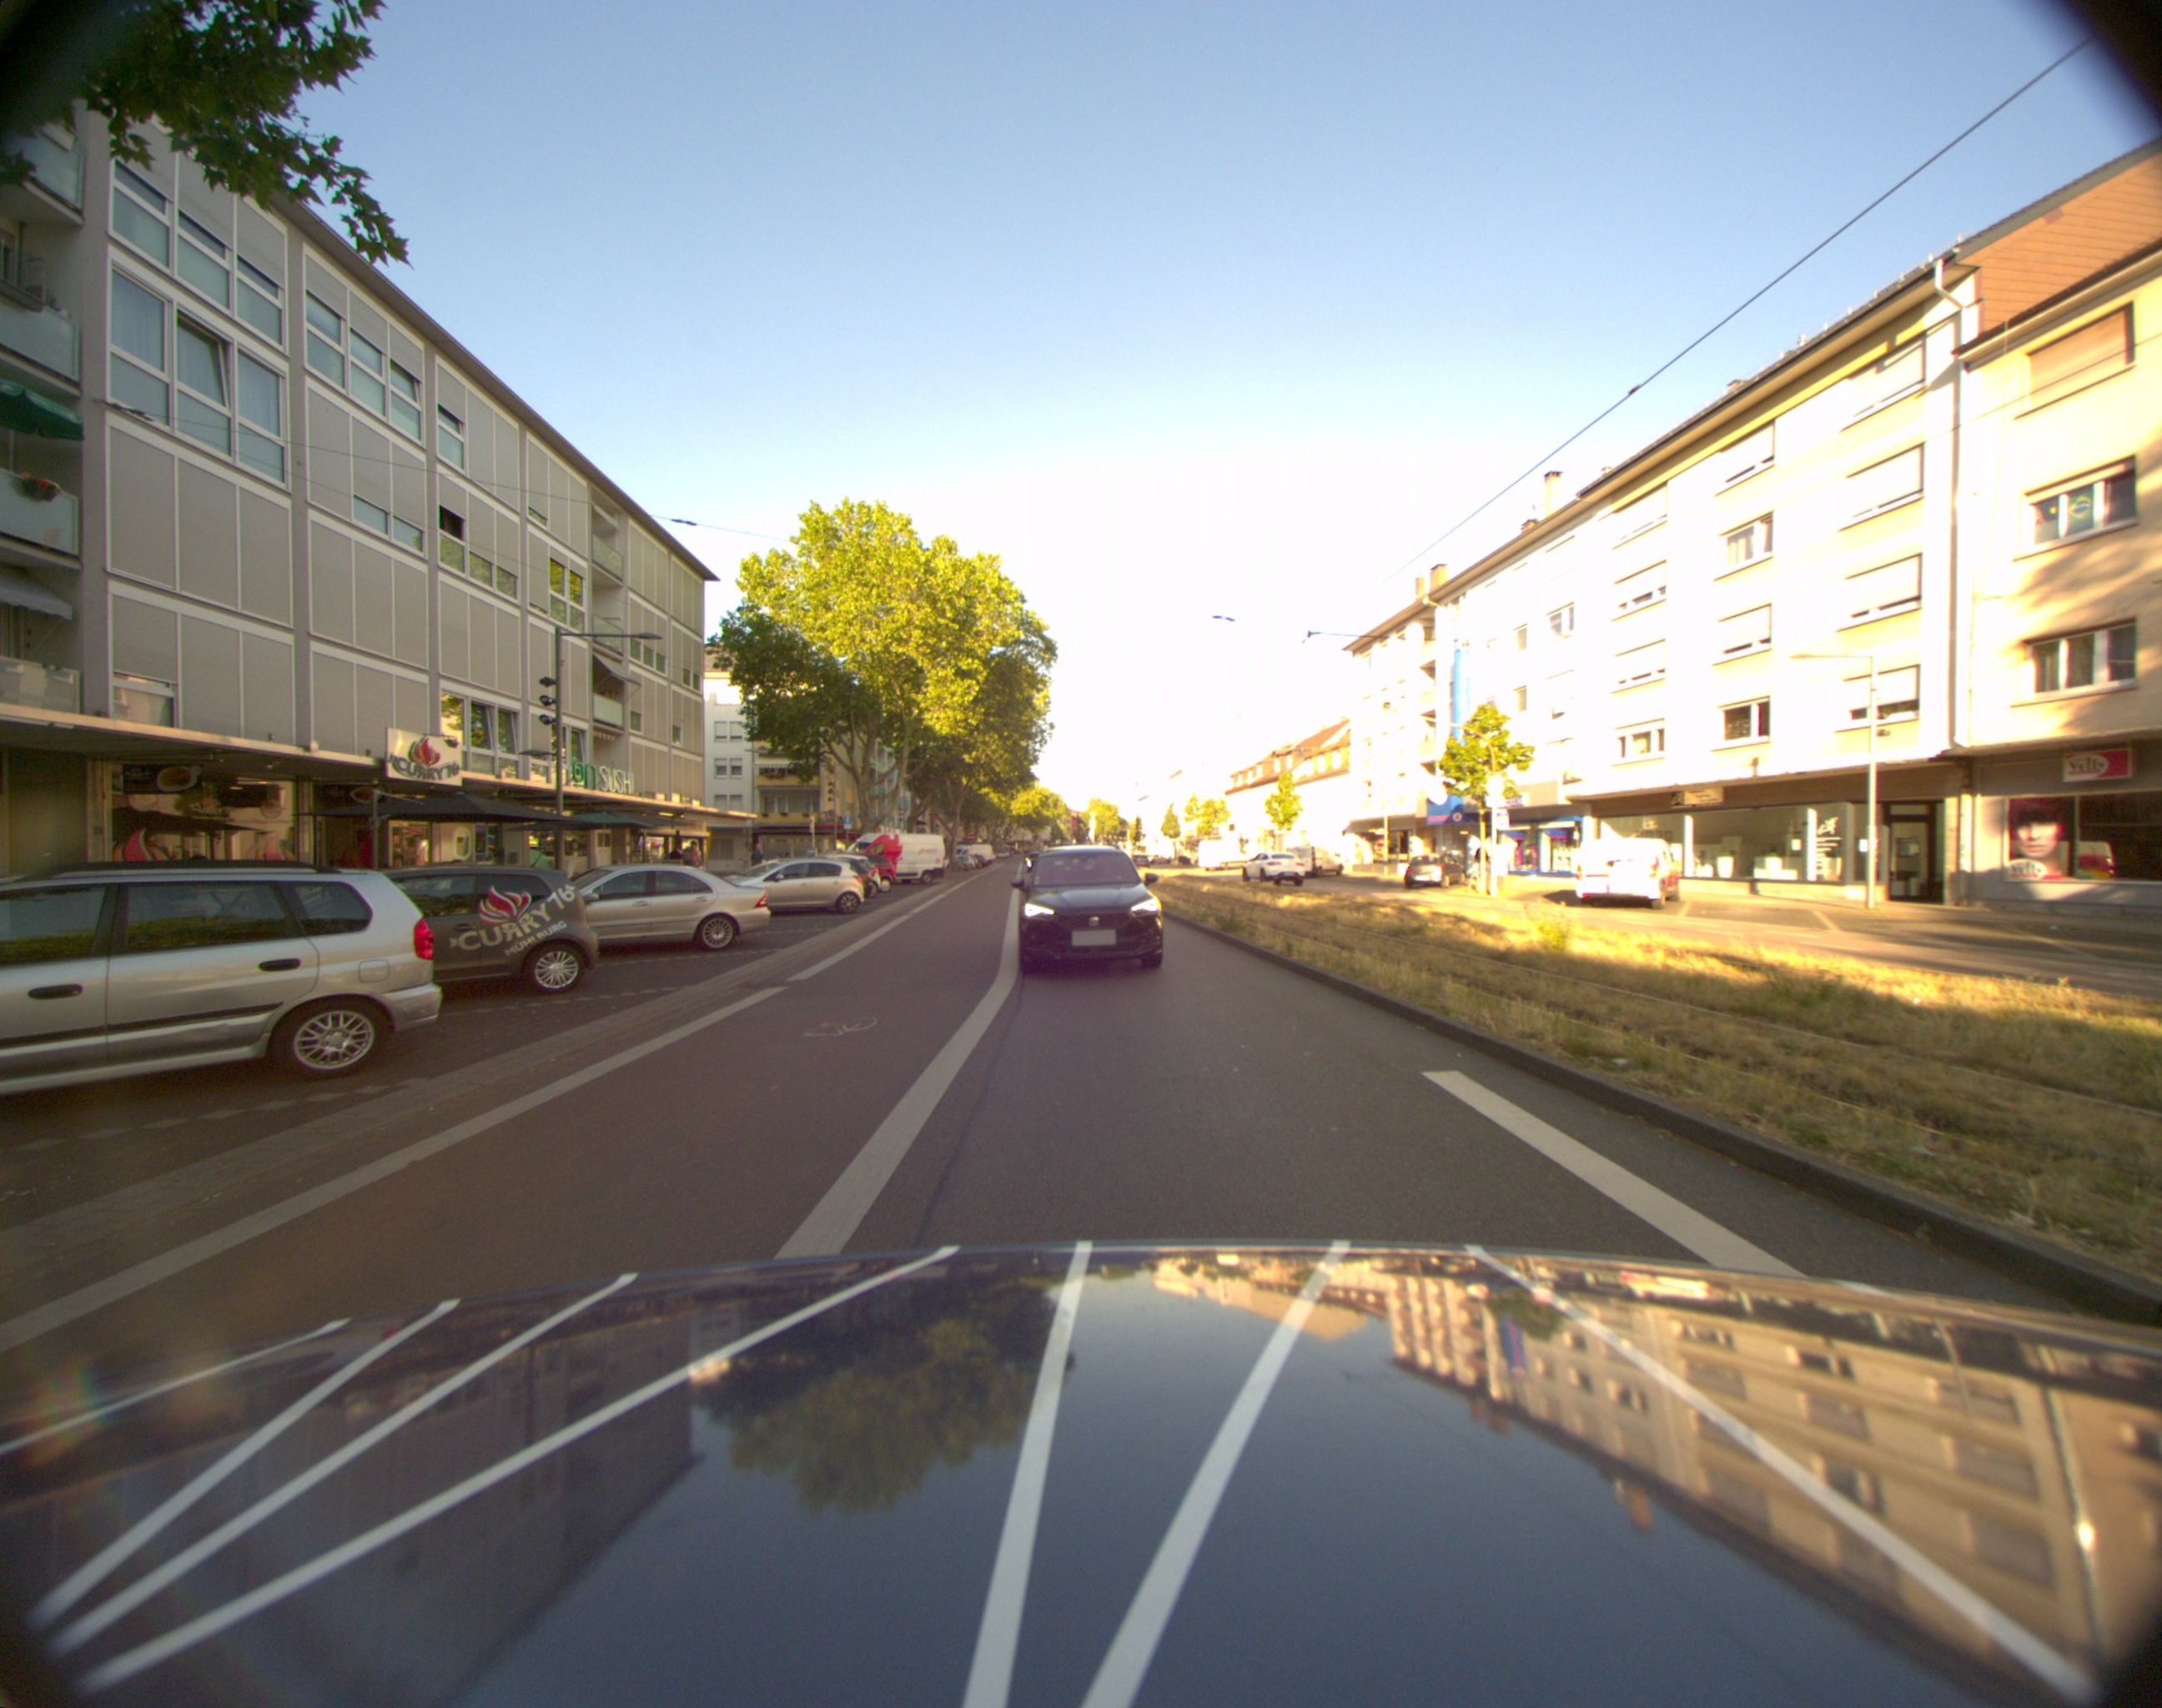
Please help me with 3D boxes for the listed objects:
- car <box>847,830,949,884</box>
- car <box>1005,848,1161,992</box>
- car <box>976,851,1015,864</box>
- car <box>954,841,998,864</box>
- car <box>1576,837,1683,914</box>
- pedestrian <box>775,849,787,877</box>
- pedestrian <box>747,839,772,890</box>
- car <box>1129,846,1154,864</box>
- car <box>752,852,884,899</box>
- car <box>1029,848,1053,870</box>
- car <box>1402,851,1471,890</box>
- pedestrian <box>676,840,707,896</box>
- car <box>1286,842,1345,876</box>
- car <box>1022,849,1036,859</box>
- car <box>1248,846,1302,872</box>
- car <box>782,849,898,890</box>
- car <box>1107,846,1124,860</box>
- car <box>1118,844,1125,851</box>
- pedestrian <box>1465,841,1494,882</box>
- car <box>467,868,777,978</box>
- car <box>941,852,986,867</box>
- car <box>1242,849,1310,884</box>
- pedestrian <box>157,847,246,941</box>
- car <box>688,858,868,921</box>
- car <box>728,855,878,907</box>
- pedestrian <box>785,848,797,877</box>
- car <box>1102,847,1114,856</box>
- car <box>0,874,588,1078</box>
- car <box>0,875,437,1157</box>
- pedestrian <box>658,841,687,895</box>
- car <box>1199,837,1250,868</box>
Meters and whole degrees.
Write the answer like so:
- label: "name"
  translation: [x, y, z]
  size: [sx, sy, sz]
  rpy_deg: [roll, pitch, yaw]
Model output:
- label: "car"
  translation: [-8.780, 0.161, 36.756]
  size: [4.606, 2.479, 1.672]
  rpy_deg: [0, 0, -44]
- label: "car"
  translation: [0.091, 0.768, 10.981]
  size: [1.784, 1.639, 4.000]
  rpy_deg: [-2, 1, 2]
- label: "car"
  translation: [-9.069, 0.406, 81.013]
  size: [1.778, 1.326, 3.943]
  rpy_deg: [0, 1, 44]
- label: "car"
  translation: [-11.611, -0.172, 84.023]
  size: [1.973, 2.454, 4.606]
  rpy_deg: [1, 1, 44]
- label: "car"
  translation: [15.568, 0.524, 21.476]
  size: [1.853, 1.888, 4.007]
  rpy_deg: [-1, 2, 44]
- label: "pedestrian"
  translation: [-17.361, 0.517, 44.003]
  size: [0.537, 1.630, 0.478]
  rpy_deg: [0, 1, -4]
- label: "pedestrian"
  translation: [-12.675, 0.401, 29.974]
  size: [0.748, 2.002, 0.559]
  rpy_deg: [0, 1, -4]
- label: "car"
  translation: [6.254, 0.088, 78.669]
  size: [1.999, 1.783, 3.998]
  rpy_deg: [0, 0, -4]
- label: "car"
  translation: [-9.020, 0.749, 26.149]
  size: [3.948, 1.421, 1.672]
  rpy_deg: [2, 2, -32]
- label: "car"
  translation: [-3.160, 0.371, 60.128]
  size: [1.646, 1.646, 3.999]
  rpy_deg: [-2, 0, -1]
- label: "car"
  translation: [15.419, 0.679, 32.818]
  size: [1.731, 1.489, 4.008]
  rpy_deg: [-1, 1, 40]
- label: "pedestrian"
  translation: [-14.064, 0.484, 27.449]
  size: [0.748, 2.002, 0.764]
  rpy_deg: [0, 1, -4]
- label: "car"
  translation: [14.443, 0.258, 46.720]
  size: [1.853, 1.926, 4.513]
  rpy_deg: [-1, 1, 40]
- label: "car"
  translation: [-7.361, -0.019, 108.740]
  size: [1.729, 1.443, 4.227]
  rpy_deg: [-2, 0, -1]
- label: "car"
  translation: [13.707, 0.358, 53.555]
  size: [3.923, 1.704, 1.853]
  rpy_deg: [-2, 1, -45]
- label: "car"
  translation: [-9.264, 0.598, 29.291]
  size: [3.948, 1.421, 1.672]
  rpy_deg: [2, 2, -32]
- label: "car"
  translation: [4.864, -0.195, 108.529]
  size: [1.906, 2.002, 3.998]
  rpy_deg: [0, 1, -5]
- label: "car"
  translation: [12.056, -1.811, 225.444]
  size: [1.842, 2.002, 4.001]
  rpy_deg: [0, 1, 4]
- label: "pedestrian"
  translation: [17.971, 0.315, 34.280]
  size: [0.757, 1.817, 0.917]
  rpy_deg: [-1, 1, -3]
- label: "car"
  translation: [-7.170, 0.962, 12.193]
  size: [1.592, 1.393, 3.950]
  rpy_deg: [2, 1, 41]
- label: "car"
  translation: [-11.065, 0.490, 71.577]
  size: [1.778, 1.396, 3.943]
  rpy_deg: [0, 1, 44]
- label: "car"
  translation: [9.333, 0.566, 36.754]
  size: [1.846, 1.571, 4.448]
  rpy_deg: [0, 0, -5]
- label: "pedestrian"
  translation: [-15.067, 0.662, 13.035]
  size: [0.583, 1.573, 0.771]
  rpy_deg: [0, 1, 2]
- label: "car"
  translation: [-7.616, 0.852, 19.341]
  size: [3.950, 1.420, 1.555]
  rpy_deg: [1, 1, -45]
- label: "car"
  translation: [-8.376, 0.791, 22.986]
  size: [3.949, 1.420, 1.672]
  rpy_deg: [2, 0, -34]
- label: "pedestrian"
  translation: [-16.814, 0.483, 44.052]
  size: [0.545, 1.710, 0.457]
  rpy_deg: [0, 1, -4]
- label: "car"
  translation: [5.890, -0.512, 168.064]
  size: [2.498, 1.871, 5.273]
  rpy_deg: [0, 0, 1]
- label: "car"
  translation: [-7.636, 0.985, 7.824]
  size: [1.672, 1.420, 3.950]
  rpy_deg: [2, 1, 38]
- label: "car"
  translation: [-6.914, 0.965, 4.863]
  size: [1.672, 1.533, 3.993]
  rpy_deg: [2, 1, 38]
- label: "pedestrian"
  translation: [-14.936, 0.496, 27.811]
  size: [0.748, 1.964, 0.575]
  rpy_deg: [0, 1, -4]
- label: "car"
  translation: [12.759, -0.151, 67.378]
  size: [1.922, 2.599, 6.601]
  rpy_deg: [-1, 1, 34]
